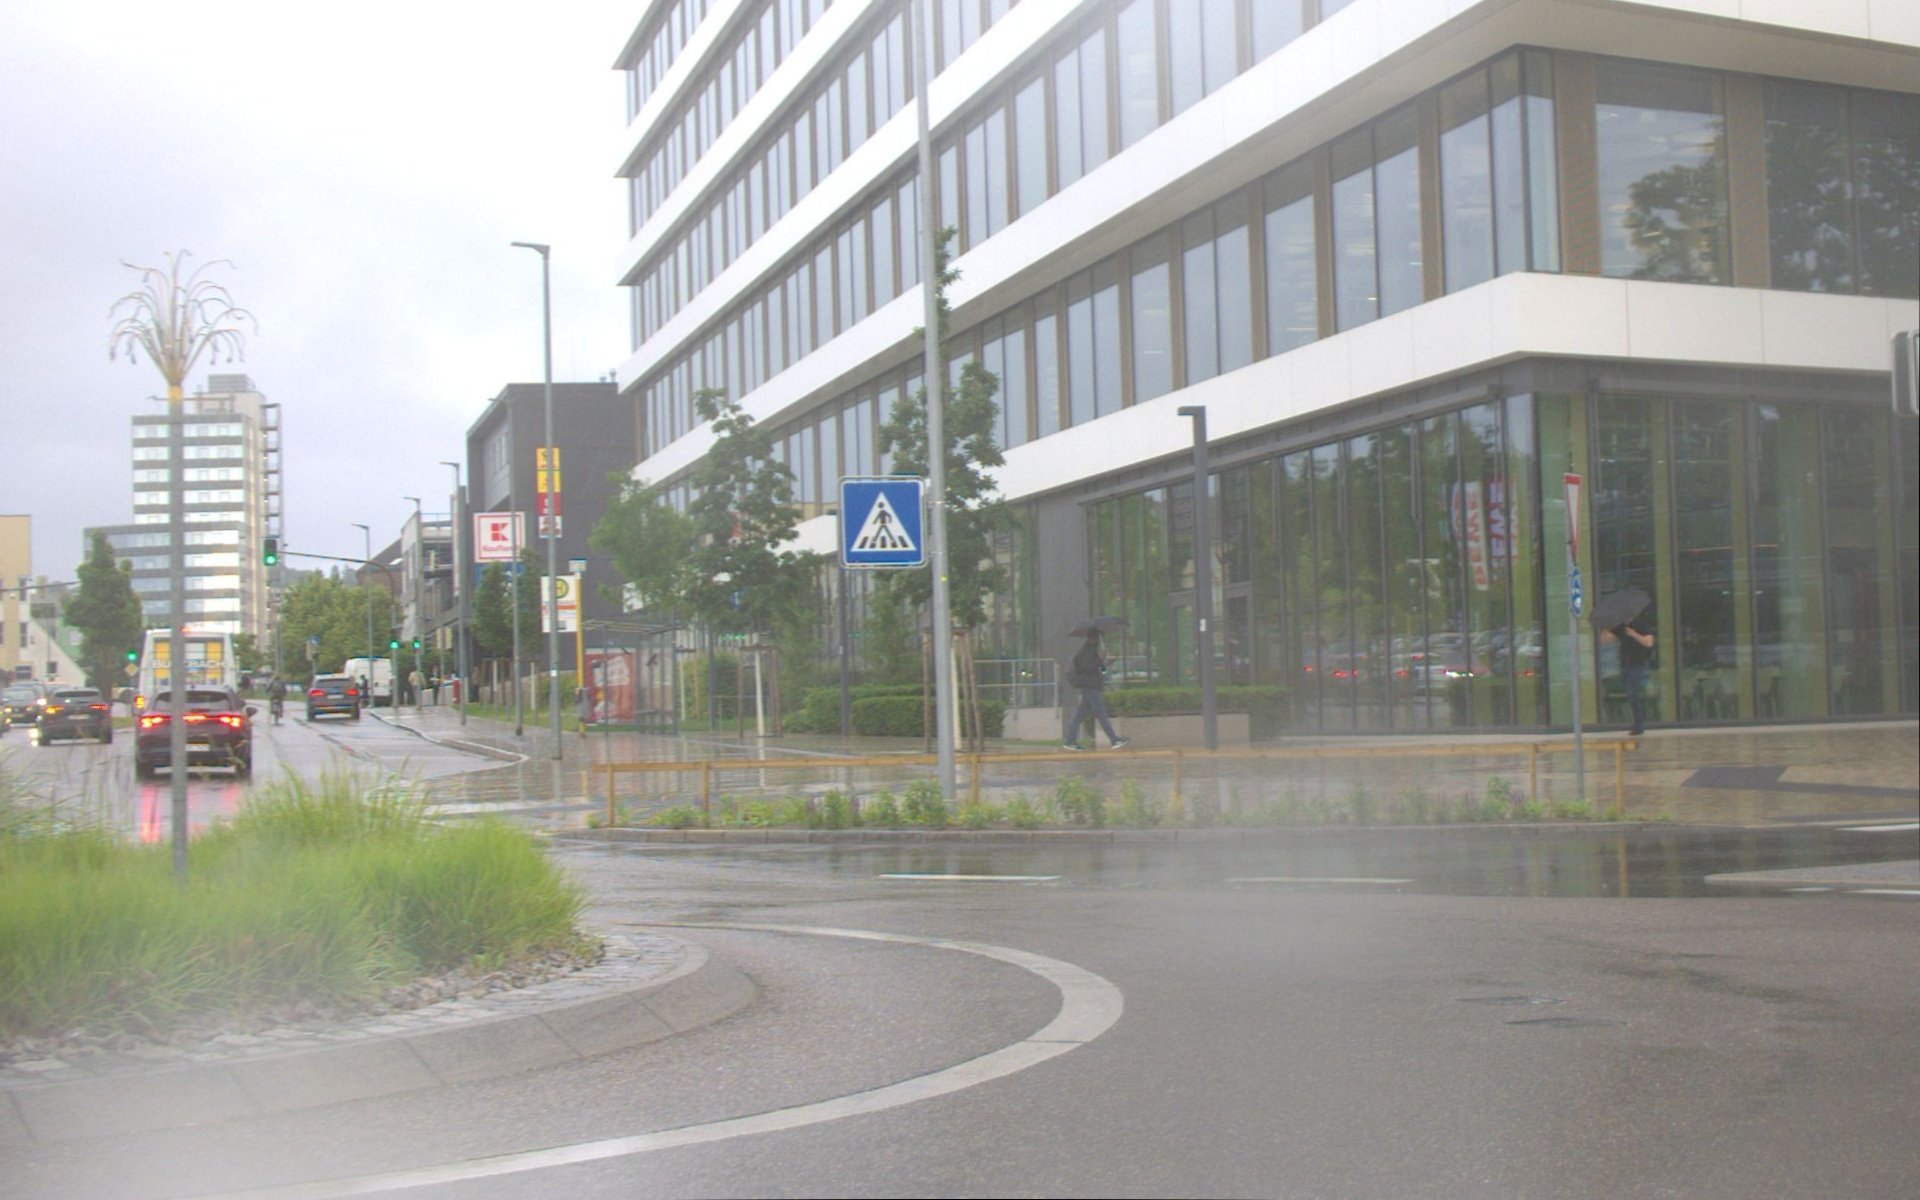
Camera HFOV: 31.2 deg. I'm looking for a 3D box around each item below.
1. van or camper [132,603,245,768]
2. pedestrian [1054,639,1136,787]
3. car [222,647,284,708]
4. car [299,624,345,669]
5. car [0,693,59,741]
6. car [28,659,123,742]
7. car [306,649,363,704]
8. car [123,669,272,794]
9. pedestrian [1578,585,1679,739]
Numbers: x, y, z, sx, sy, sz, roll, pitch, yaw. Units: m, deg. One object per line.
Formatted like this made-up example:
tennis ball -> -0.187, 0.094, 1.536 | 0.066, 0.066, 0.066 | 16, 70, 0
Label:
van or camper -> -15.354, 1.632, 68.257 | 1.993, 3.077, 5.103 | -1, 0, -14
pedestrian -> 1.979, 1.647, 50.488 | 1.002, 2.138, 0.932 | -1, -1, -9
car -> -25.559, 2.779, 124.335 | 1.993, 2.007, 4.001 | -2, 1, -9
car -> -28.760, 2.067, 155.047 | 1.993, 1.853, 4.001 | 2, 1, -10
car -> -29.063, 3.515, 102.780 | 1.996, 1.393, 3.994 | -1, -1, 25
car -> -22.336, 2.516, 86.953 | 1.993, 1.853, 4.001 | 2, 1, -10
car -> -23.212, 2.829, 127.632 | 1.993, 1.853, 4.001 | 2, 1, -10
car -> -11.949, 2.034, 54.093 | 1.993, 1.722, 4.001 | 0, 1, -8
pedestrian -> 8.865, 0.818, 45.575 | 0.929, 2.007, 0.893 | 0, -1, -40
